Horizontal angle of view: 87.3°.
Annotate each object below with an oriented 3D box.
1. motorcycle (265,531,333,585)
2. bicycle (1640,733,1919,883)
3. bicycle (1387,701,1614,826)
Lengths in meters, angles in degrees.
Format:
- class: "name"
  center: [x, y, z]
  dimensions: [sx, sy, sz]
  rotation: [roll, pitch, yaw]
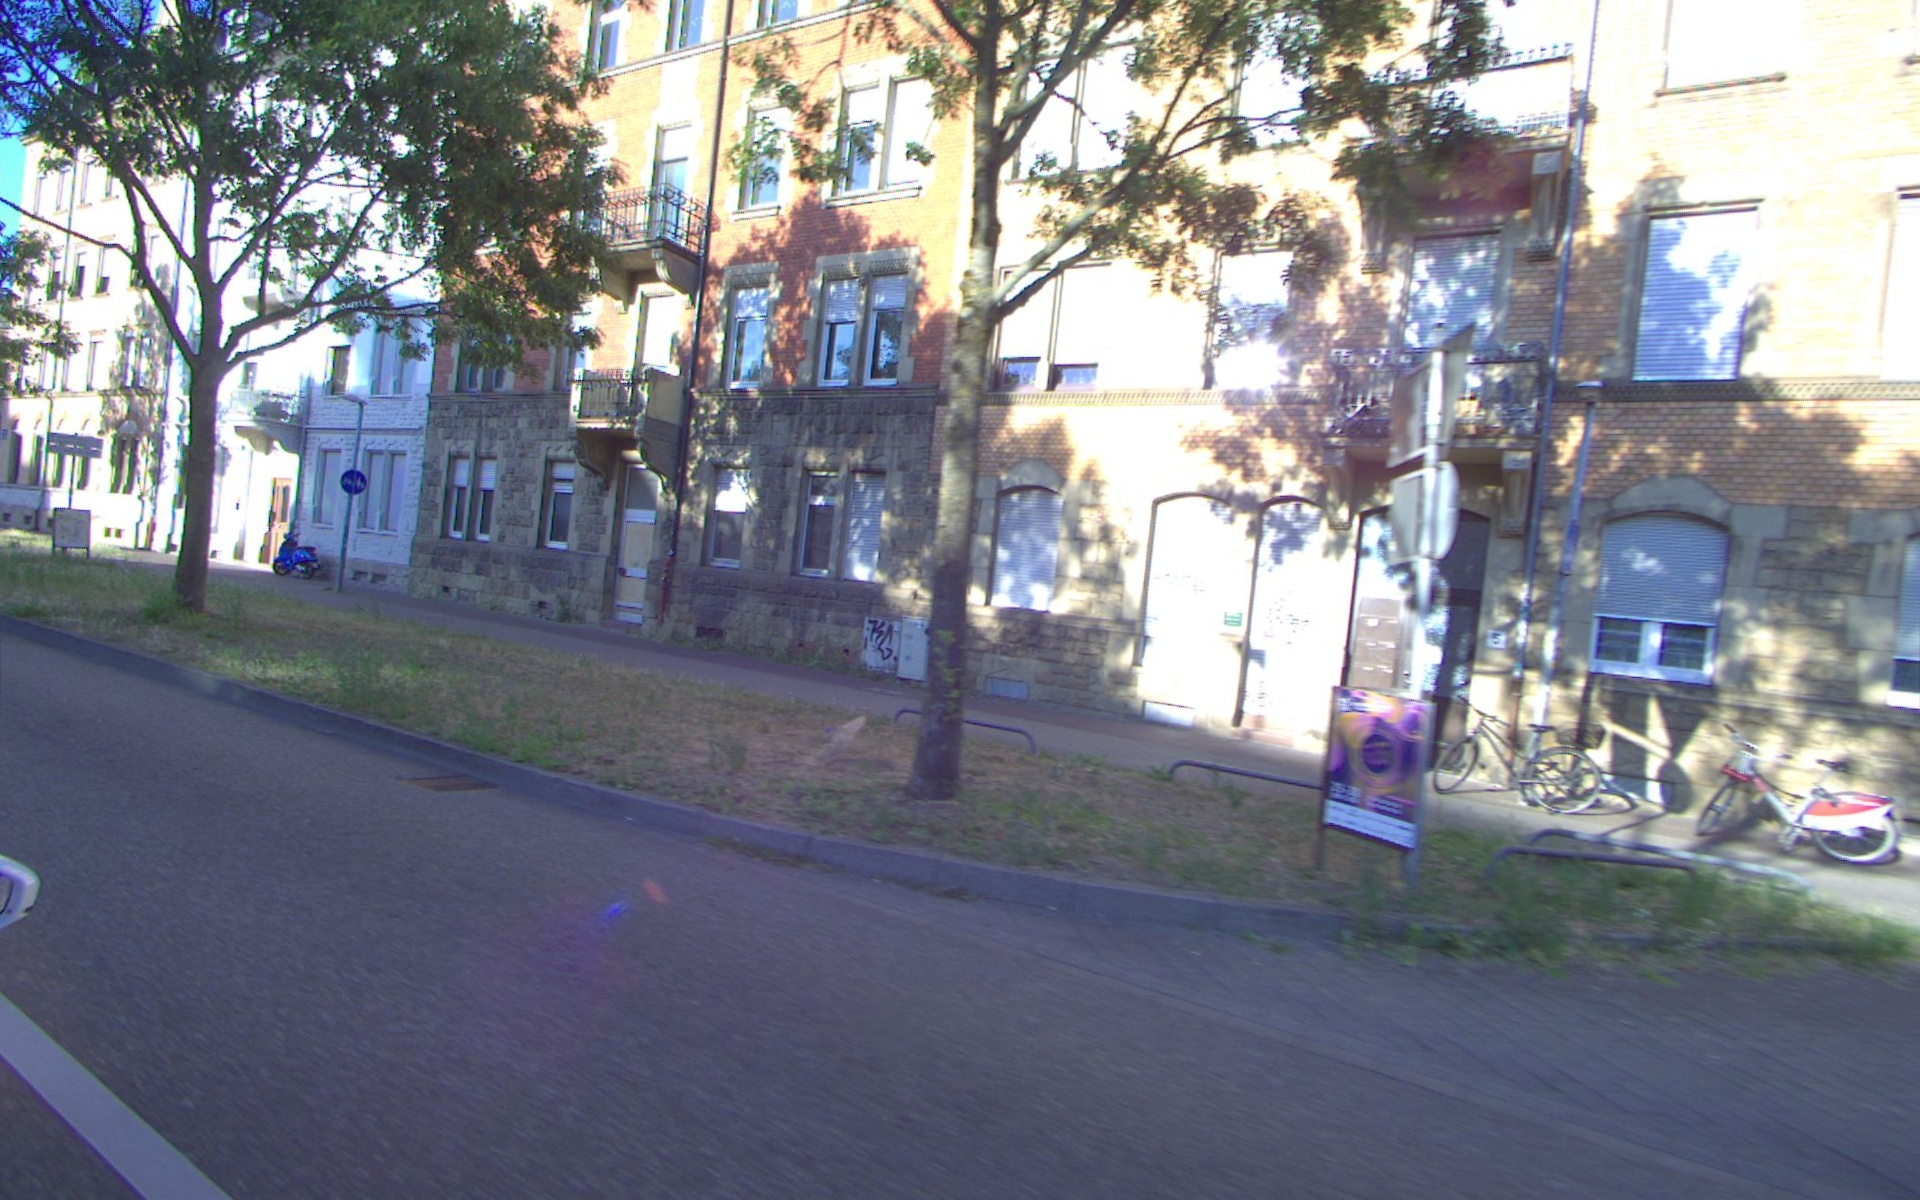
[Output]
- class: "motorcycle"
  center: [-17.797, -1.141, 27.083]
  dimensions: [2.037, 1.228, 0.555]
  rotation: [6, -1, 30]
- class: "bicycle"
  center: [8.097, 1.994, 9.840]
  dimensions: [2.302, 0.960, 0.733]
  rotation: [6, 2, 35]
- class: "bicycle"
  center: [5.899, 1.738, 11.039]
  dimensions: [2.051, 0.928, 0.872]
  rotation: [6, 2, 33]
